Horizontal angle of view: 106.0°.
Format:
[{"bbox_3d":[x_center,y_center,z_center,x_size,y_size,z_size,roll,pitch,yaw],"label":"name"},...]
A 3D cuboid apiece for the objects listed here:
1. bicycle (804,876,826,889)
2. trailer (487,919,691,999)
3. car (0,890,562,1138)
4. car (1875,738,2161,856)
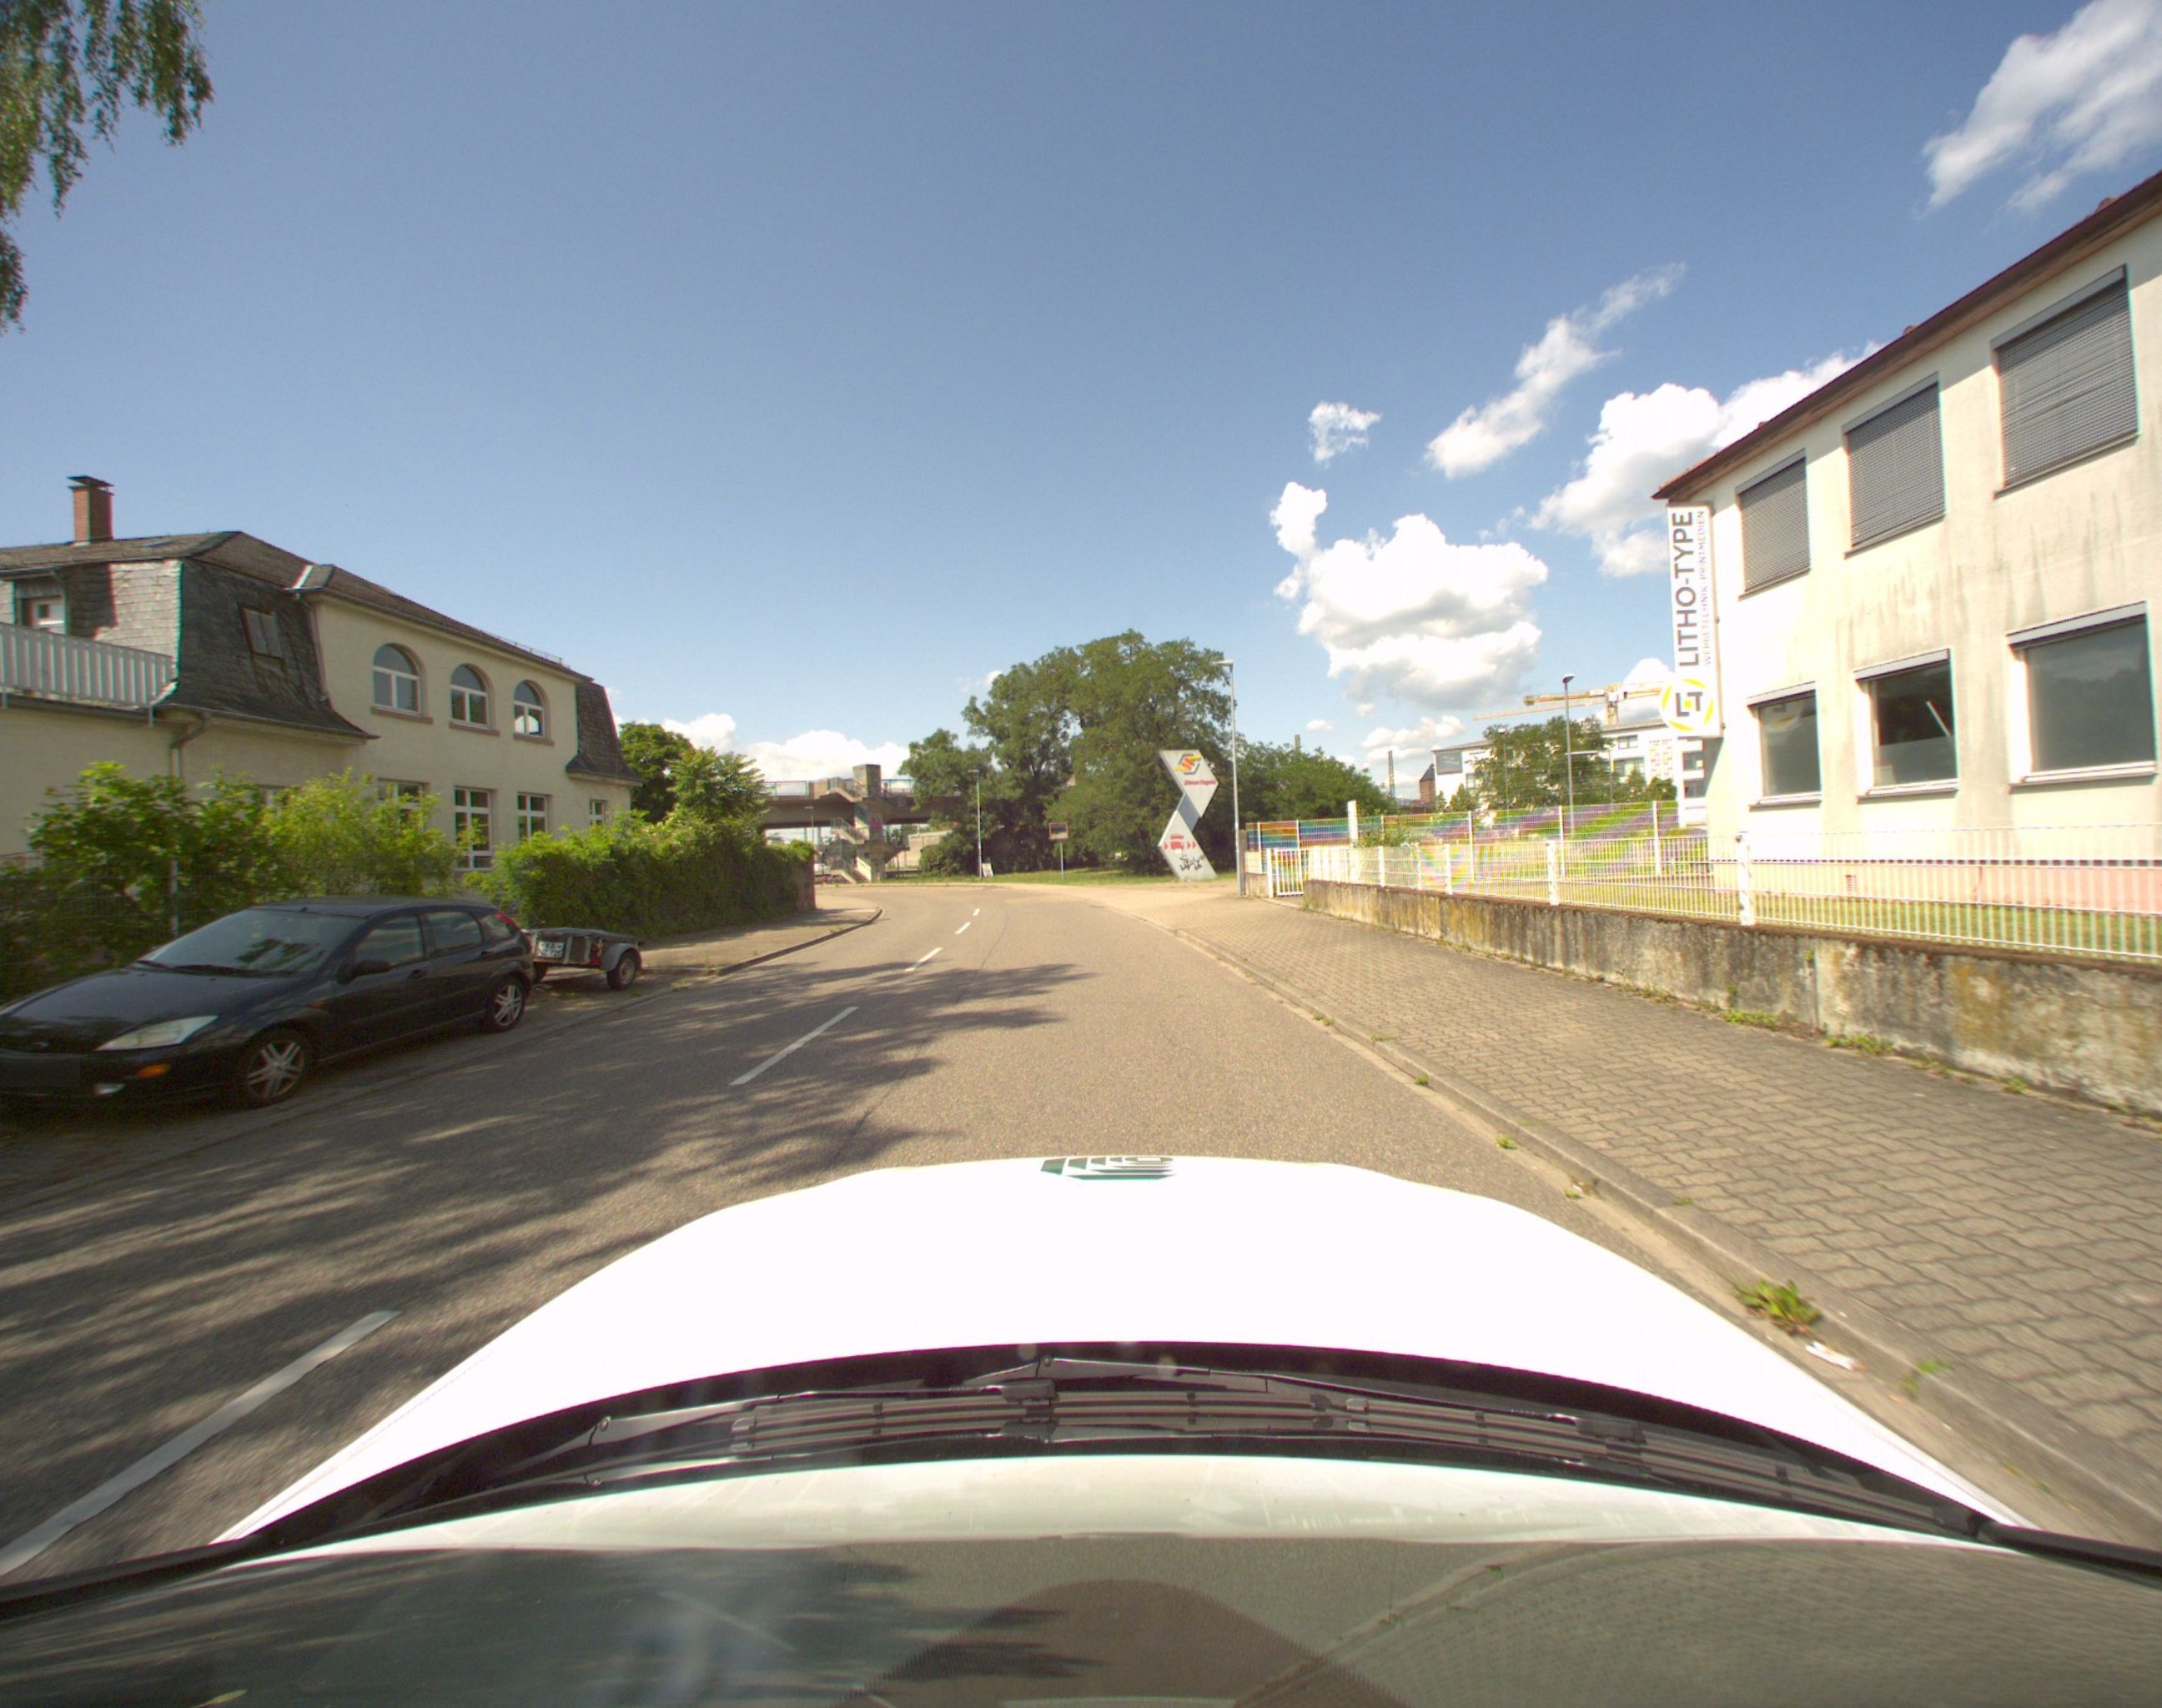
[{"bbox_3d":[-24.212,2.594,74.121,2.163,1.108,0.649,-3,0,32],"label":"bicycle"},{"bbox_3d":[-7.174,1.499,12.137,1.459,0.851,2.467,2,-1,1],"label":"trailer"},{"bbox_3d":[-6.991,1.164,7.532,1.677,1.512,4.156,1,-1,0],"label":"car"},{"bbox_3d":[17.720,-1.006,15.079,3.948,1.832,1.815,-3,-1,32],"label":"car"}]
